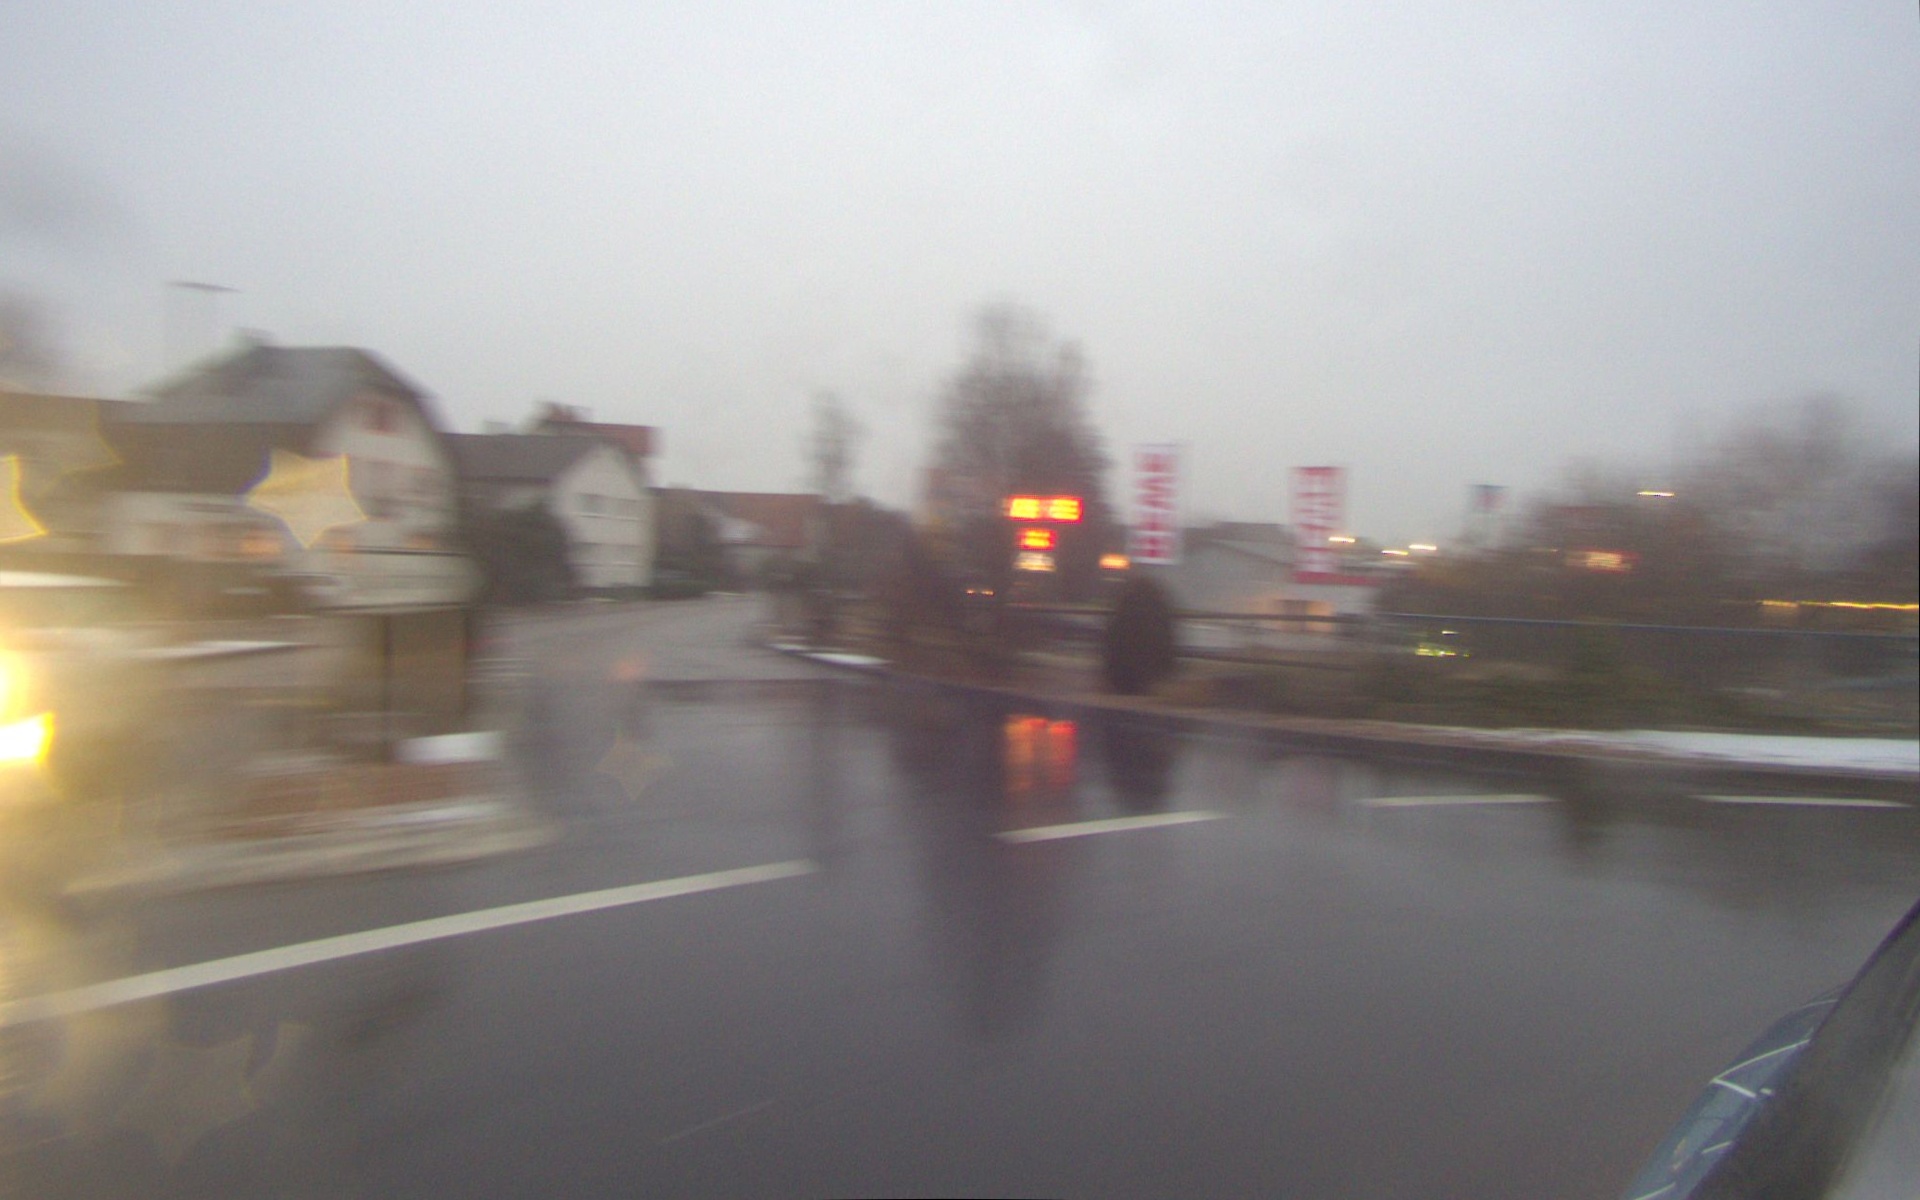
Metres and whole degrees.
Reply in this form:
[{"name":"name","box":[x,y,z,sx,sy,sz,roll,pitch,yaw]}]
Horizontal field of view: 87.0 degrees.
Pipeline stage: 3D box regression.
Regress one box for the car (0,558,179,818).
[{"name":"car","box":[-6.731,0.500,6.594,1.628,1.511,3.719,0,1,-22]}]

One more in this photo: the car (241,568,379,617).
[{"name":"car","box":[-23.374,-0.307,36.451,3.935,1.504,1.911,3,3,10]}]
